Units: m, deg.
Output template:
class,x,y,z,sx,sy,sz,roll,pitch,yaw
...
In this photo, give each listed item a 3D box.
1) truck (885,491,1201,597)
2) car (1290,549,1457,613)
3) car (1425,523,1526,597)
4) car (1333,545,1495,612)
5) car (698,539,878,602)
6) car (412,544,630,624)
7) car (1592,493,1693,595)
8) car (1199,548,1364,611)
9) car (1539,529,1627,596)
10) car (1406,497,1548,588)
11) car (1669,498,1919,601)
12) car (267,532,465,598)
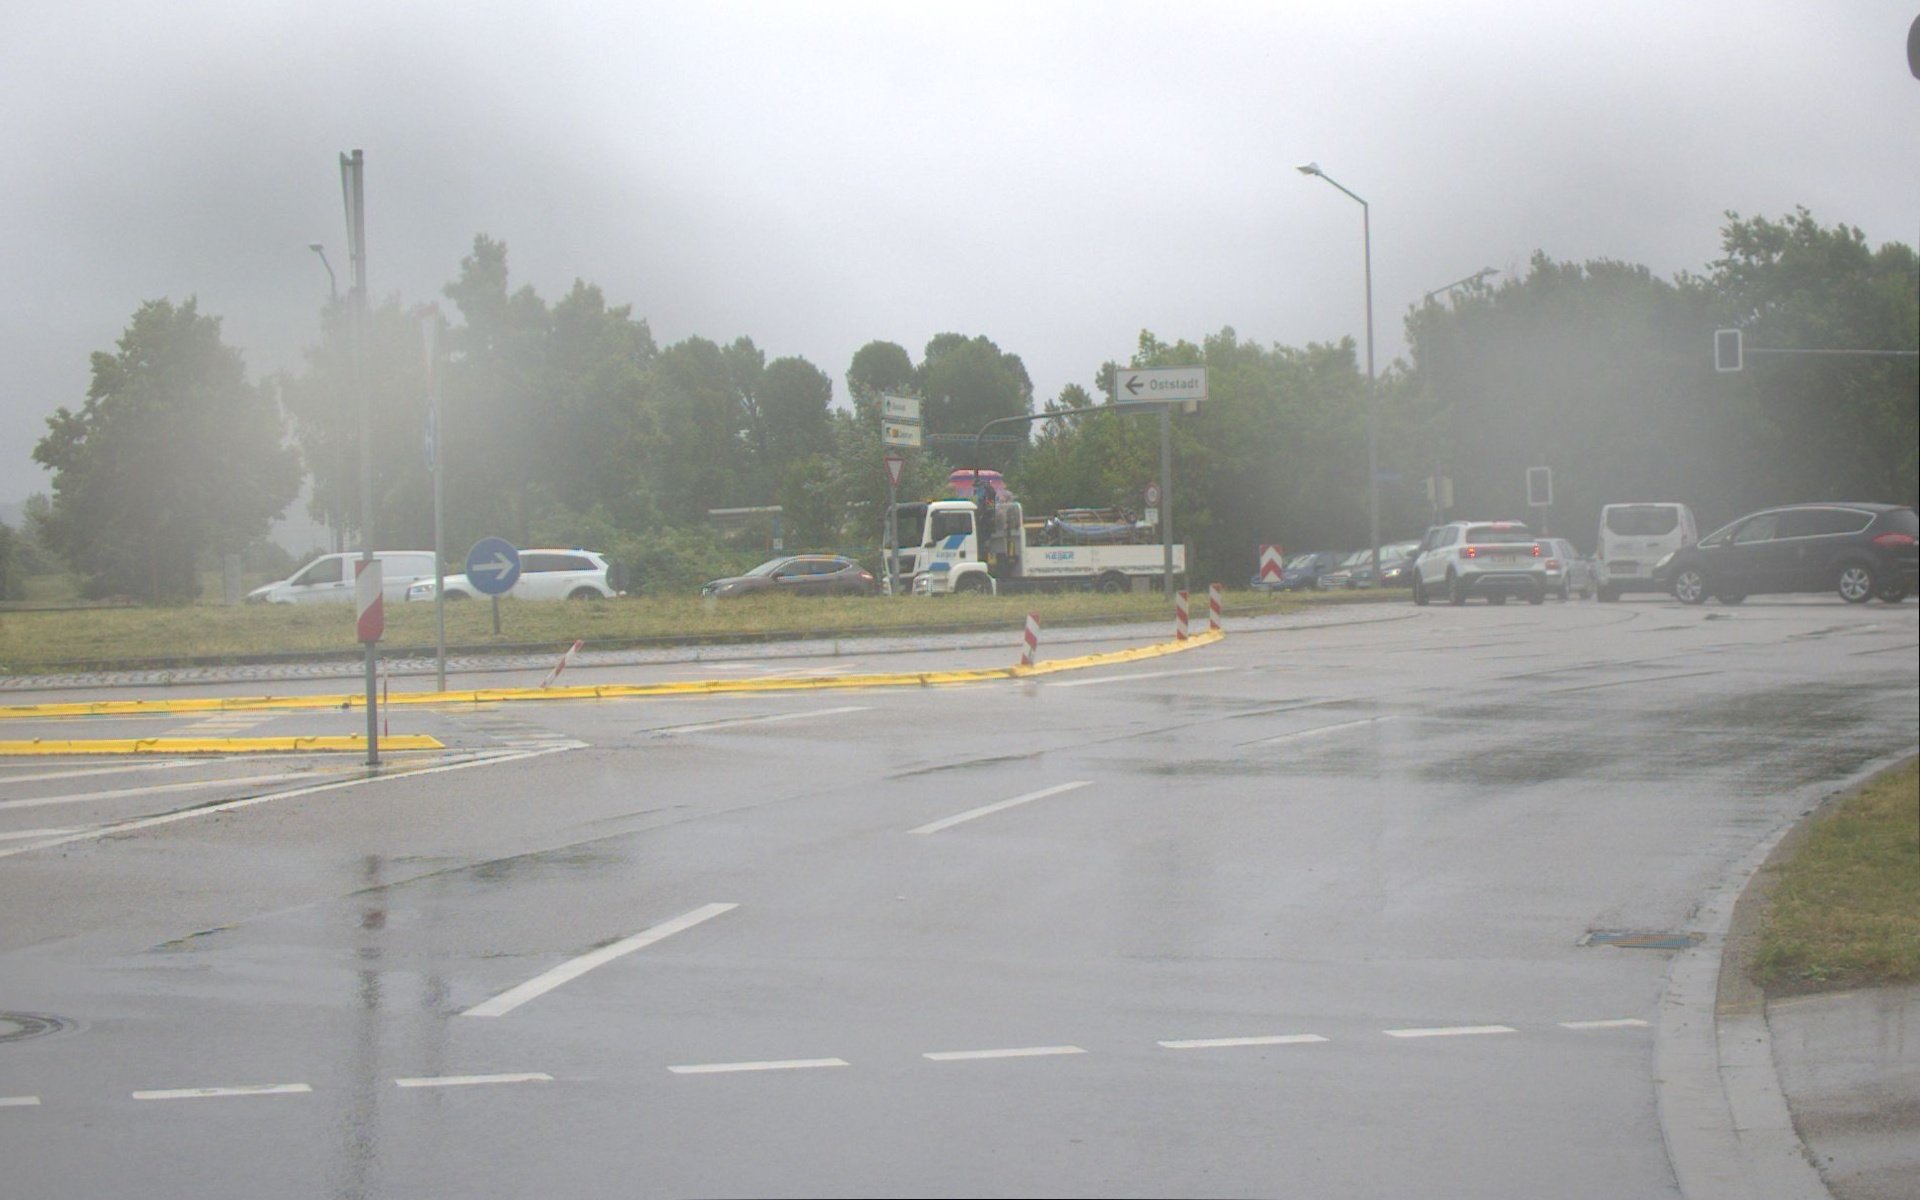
class,x,y,z,sx,sy,sz,roll,pitch,yaw
truck,2.299,-1.474,92.688,8.768,2.702,2.000,0,1,-30
car,11.642,-0.522,96.567,4.852,1.738,1.777,0,1,-40
car,10.873,-0.836,72.337,1.690,1.487,3.248,1,1,16
car,12.161,-0.575,91.896,1.776,1.738,4.853,1,1,43
car,-4.242,-0.727,85.032,4.138,1.487,1.612,1,1,-26
car,-10.023,-0.370,78.442,4.849,1.738,1.778,1,0,-10
car,14.130,-1.134,71.063,1.784,2.029,3.997,1,1,14
car,9.268,-0.578,98.829,4.852,1.738,1.777,0,1,-40
car,14.182,-0.849,78.151,1.690,1.487,3.249,1,1,15
car,9.721,-1.072,64.881,1.680,1.642,3.948,1,1,-6
car,13.961,-0.837,56.781,3.995,1.642,1.785,1,1,37
car,-14.120,-0.829,81.683,4.533,1.487,1.612,1,0,-13
